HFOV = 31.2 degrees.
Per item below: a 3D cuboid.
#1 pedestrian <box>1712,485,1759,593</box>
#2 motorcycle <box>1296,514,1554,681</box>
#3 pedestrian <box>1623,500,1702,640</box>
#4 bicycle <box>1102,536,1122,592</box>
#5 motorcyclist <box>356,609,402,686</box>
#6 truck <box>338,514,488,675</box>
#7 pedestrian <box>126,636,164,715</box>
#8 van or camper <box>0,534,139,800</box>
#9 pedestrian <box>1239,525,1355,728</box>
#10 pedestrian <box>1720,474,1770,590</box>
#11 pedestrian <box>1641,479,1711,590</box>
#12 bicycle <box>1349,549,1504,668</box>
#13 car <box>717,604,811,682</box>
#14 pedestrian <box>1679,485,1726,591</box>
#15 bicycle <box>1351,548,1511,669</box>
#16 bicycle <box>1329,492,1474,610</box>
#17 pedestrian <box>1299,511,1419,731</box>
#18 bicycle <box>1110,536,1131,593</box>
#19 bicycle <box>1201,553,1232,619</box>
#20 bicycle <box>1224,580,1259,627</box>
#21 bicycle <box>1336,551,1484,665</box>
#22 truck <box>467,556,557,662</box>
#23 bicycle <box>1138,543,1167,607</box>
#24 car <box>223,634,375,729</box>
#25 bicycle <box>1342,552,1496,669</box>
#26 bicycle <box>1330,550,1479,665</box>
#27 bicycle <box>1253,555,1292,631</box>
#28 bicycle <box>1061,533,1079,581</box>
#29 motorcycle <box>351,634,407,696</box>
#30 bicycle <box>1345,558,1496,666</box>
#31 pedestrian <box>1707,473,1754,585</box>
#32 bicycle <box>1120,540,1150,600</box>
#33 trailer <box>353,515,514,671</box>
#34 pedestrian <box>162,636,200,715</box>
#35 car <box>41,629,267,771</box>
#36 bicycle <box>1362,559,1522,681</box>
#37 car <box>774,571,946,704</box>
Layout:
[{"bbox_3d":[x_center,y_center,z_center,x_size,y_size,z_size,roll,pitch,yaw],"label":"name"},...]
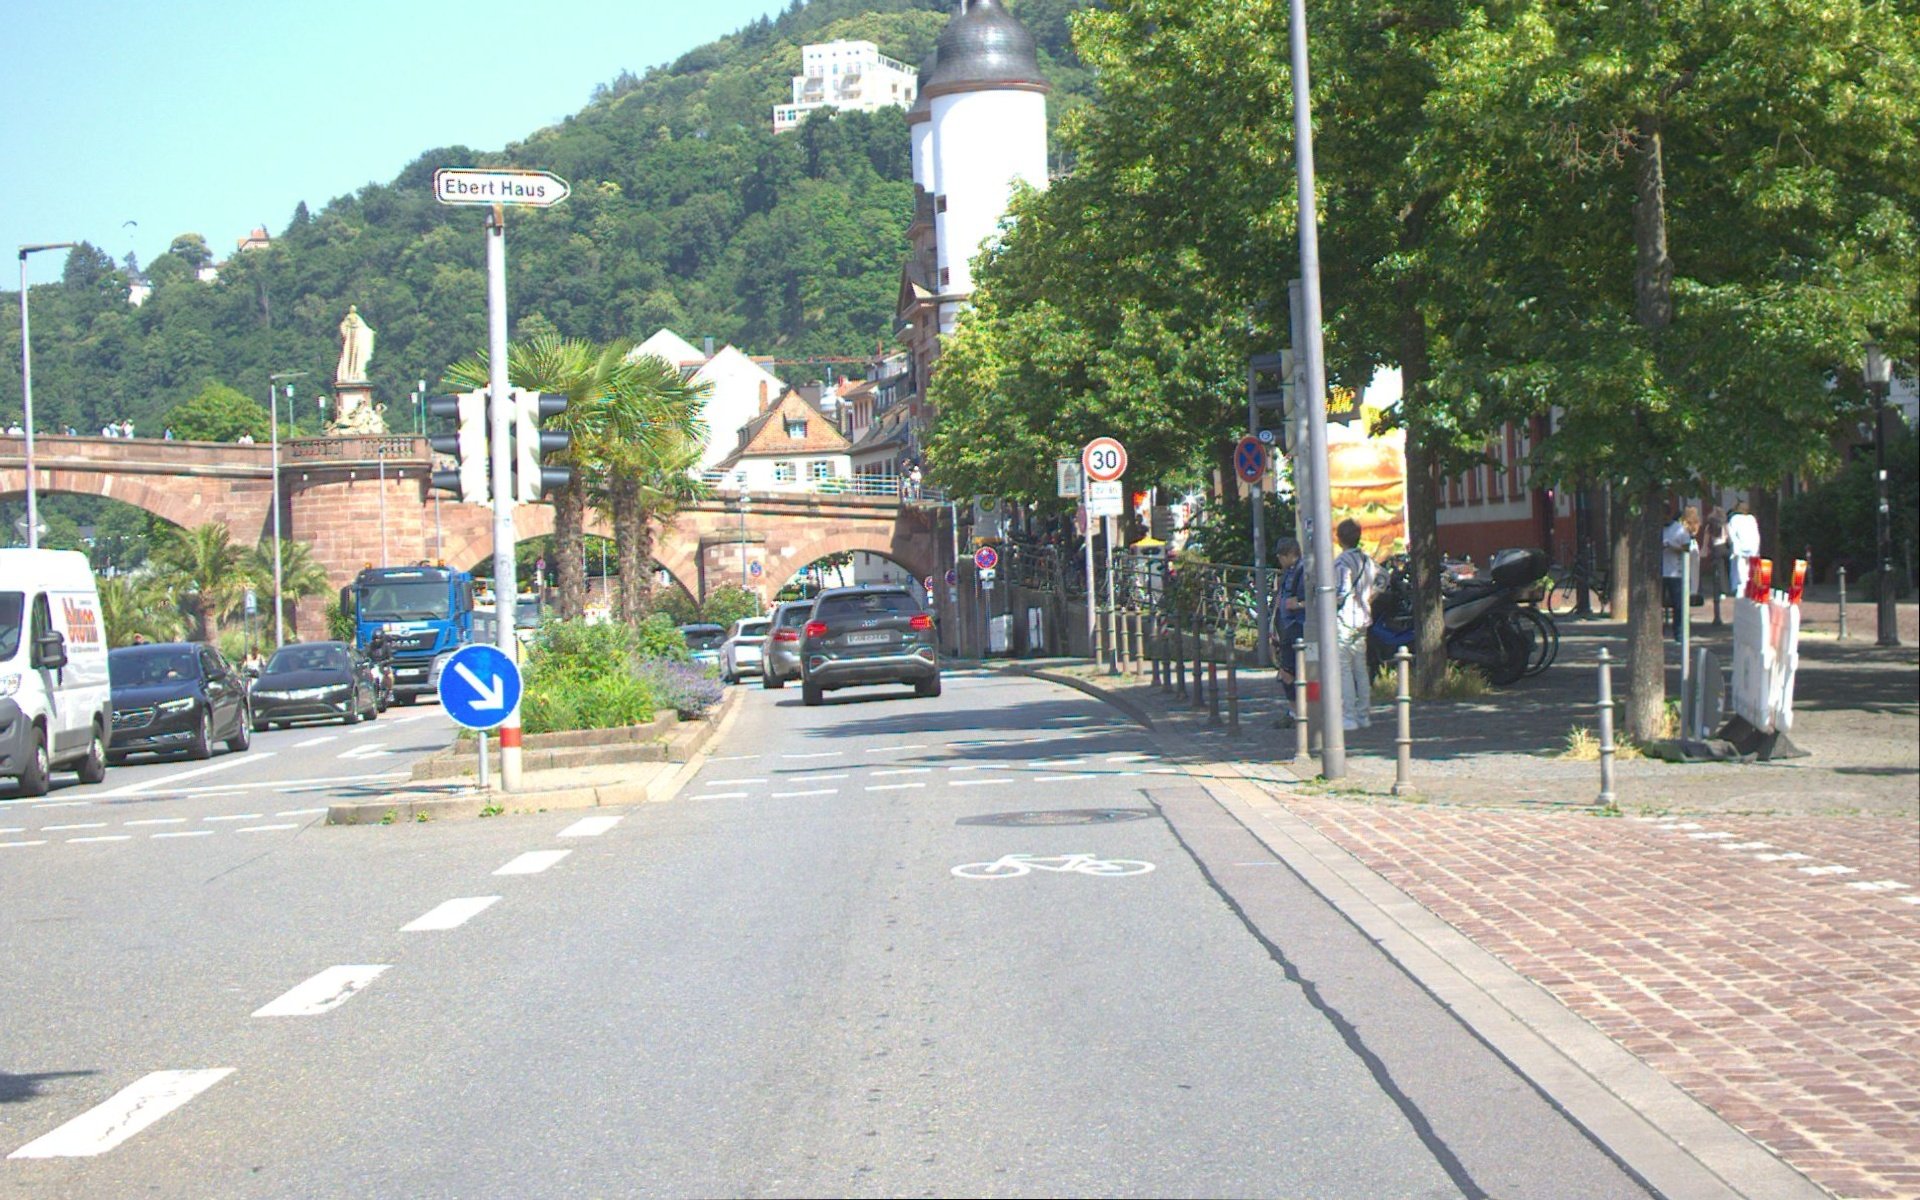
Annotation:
[{"bbox_3d":[13.475,-1.063,59.763,0.585,1.834,0.596,-3,1,-3],"label":"pedestrian"},{"bbox_3d":[4.435,-0.017,32.901,2.296,1.460,0.763,-4,0,39],"label":"motorcycle"},{"bbox_3d":[8.449,-0.364,41.365,0.707,1.647,0.707,-3,1,-2],"label":"pedestrian"},{"bbox_3d":[3.009,-0.715,68.264,0.250,1.092,1.489,-1,0,-3],"label":"bicycle"},{"bbox_3d":[-11.516,0.932,68.170,0.736,1.465,1.011,-2,1,-3],"label":"motorcyclist"},{"bbox_3d":[-12.182,-0.142,76.852,2.657,3.392,4.450,-2,1,-2],"label":"truck"},{"bbox_3d":[-18.770,1.735,79.206,0.761,1.774,0.696,-2,1,-10],"label":"pedestrian"},{"bbox_3d":[-9.835,0.683,34.363,1.993,2.441,5.495,-4,0,-2],"label":"van or camper"},{"bbox_3d":[2.881,0.220,29.430,0.693,1.671,0.764,-4,1,-10],"label":"pedestrian"},{"bbox_3d":[13.819,-1.204,60.541,0.634,2.007,0.644,-3,1,-3],"label":"pedestrian"},{"bbox_3d":[12.624,-1.156,60.627,0.968,1.908,0.747,-3,0,-1],"label":"pedestrian"},{"bbox_3d":[4.766,0.081,35.142,1.483,1.116,0.294,-4,0,-7],"label":"bicycle"},{"bbox_3d":[-4.421,0.946,78.178,1.993,1.548,4.832,-2,1,-2],"label":"car"},{"bbox_3d":[12.899,-1.071,59.758,0.585,1.803,0.596,-3,1,-3],"label":"pedestrian"},{"bbox_3d":[4.746,0.085,34.643,1.483,1.116,0.378,-4,0,-7],"label":"bicycle"},{"bbox_3d":[5.895,-0.647,45.882,1.829,1.478,0.286,-3,0,-4],"label":"bicycle"},{"bbox_3d":[3.335,0.170,28.774,0.693,1.765,0.764,-4,1,-10],"label":"pedestrian"},{"bbox_3d":[3.104,-0.684,66.338,0.250,1.092,1.489,-1,0,-3],"label":"bicycle"},{"bbox_3d":[3.929,-0.219,52.772,0.250,0.997,1.489,-1,0,-4],"label":"bicycle"},{"bbox_3d":[4.069,0.046,49.731,0.250,0.661,1.469,-3,1,-4],"label":"bicycle"},{"bbox_3d":[4.785,0.081,36.537,1.483,1.116,0.251,-4,0,-7],"label":"bicycle"},{"bbox_3d":[-15.161,0.274,116.634,2.657,3.391,5.136,-2,1,-5],"label":"truck"},{"bbox_3d":[3.382,-0.439,60.369,0.345,1.092,1.489,-1,0,-3],"label":"bicycle"},{"bbox_3d":[-11.271,1.376,58.878,1.952,1.408,4.219,-5,-1,-4],"label":"car"},{"bbox_3d":[4.732,0.106,35.438,1.483,1.116,0.294,-4,0,-7],"label":"bicycle"},{"bbox_3d":[4.686,0.080,36.262,1.483,1.116,0.251,-4,0,-7],"label":"bicycle"},{"bbox_3d":[4.230,-0.096,46.591,0.250,1.007,1.489,-3,0,-4],"label":"bicycle"},{"bbox_3d":[2.528,-0.980,78.964,0.356,1.092,1.488,-1,0,3],"label":"bicycle"},{"bbox_3d":[-11.511,1.282,68.158,0.757,1.128,2.456,-2,1,-3],"label":"motorcycle"},{"bbox_3d":[4.828,0.123,36.027,1.483,1.028,0.294,-4,0,-7],"label":"bicycle"},{"bbox_3d":[14.116,-1.303,62.974,0.585,2.007,0.596,-3,1,-3],"label":"pedestrian"},{"bbox_3d":[3.254,-0.556,63.938,0.275,1.092,1.489,-7,1,-3],"label":"bicycle"},{"bbox_3d":[-12.380,-0.206,81.476,2.657,3.391,8.827,-2,1,-2],"label":"trailer"},{"bbox_3d":[-17.991,1.733,79.425,0.761,1.774,0.696,-2,1,-10],"label":"pedestrian"},{"bbox_3d":[-10.055,1.209,43.237,1.818,1.451,4.929,-5,1,-3],"label":"car"},{"bbox_3d":[4.800,0.193,34.263,1.483,1.116,0.294,-4,0,-4],"label":"bicycle"},{"bbox_3d":[-1.389,0.453,45.872,1.926,1.548,4.833,-4,1,-5],"label":"car"}]
